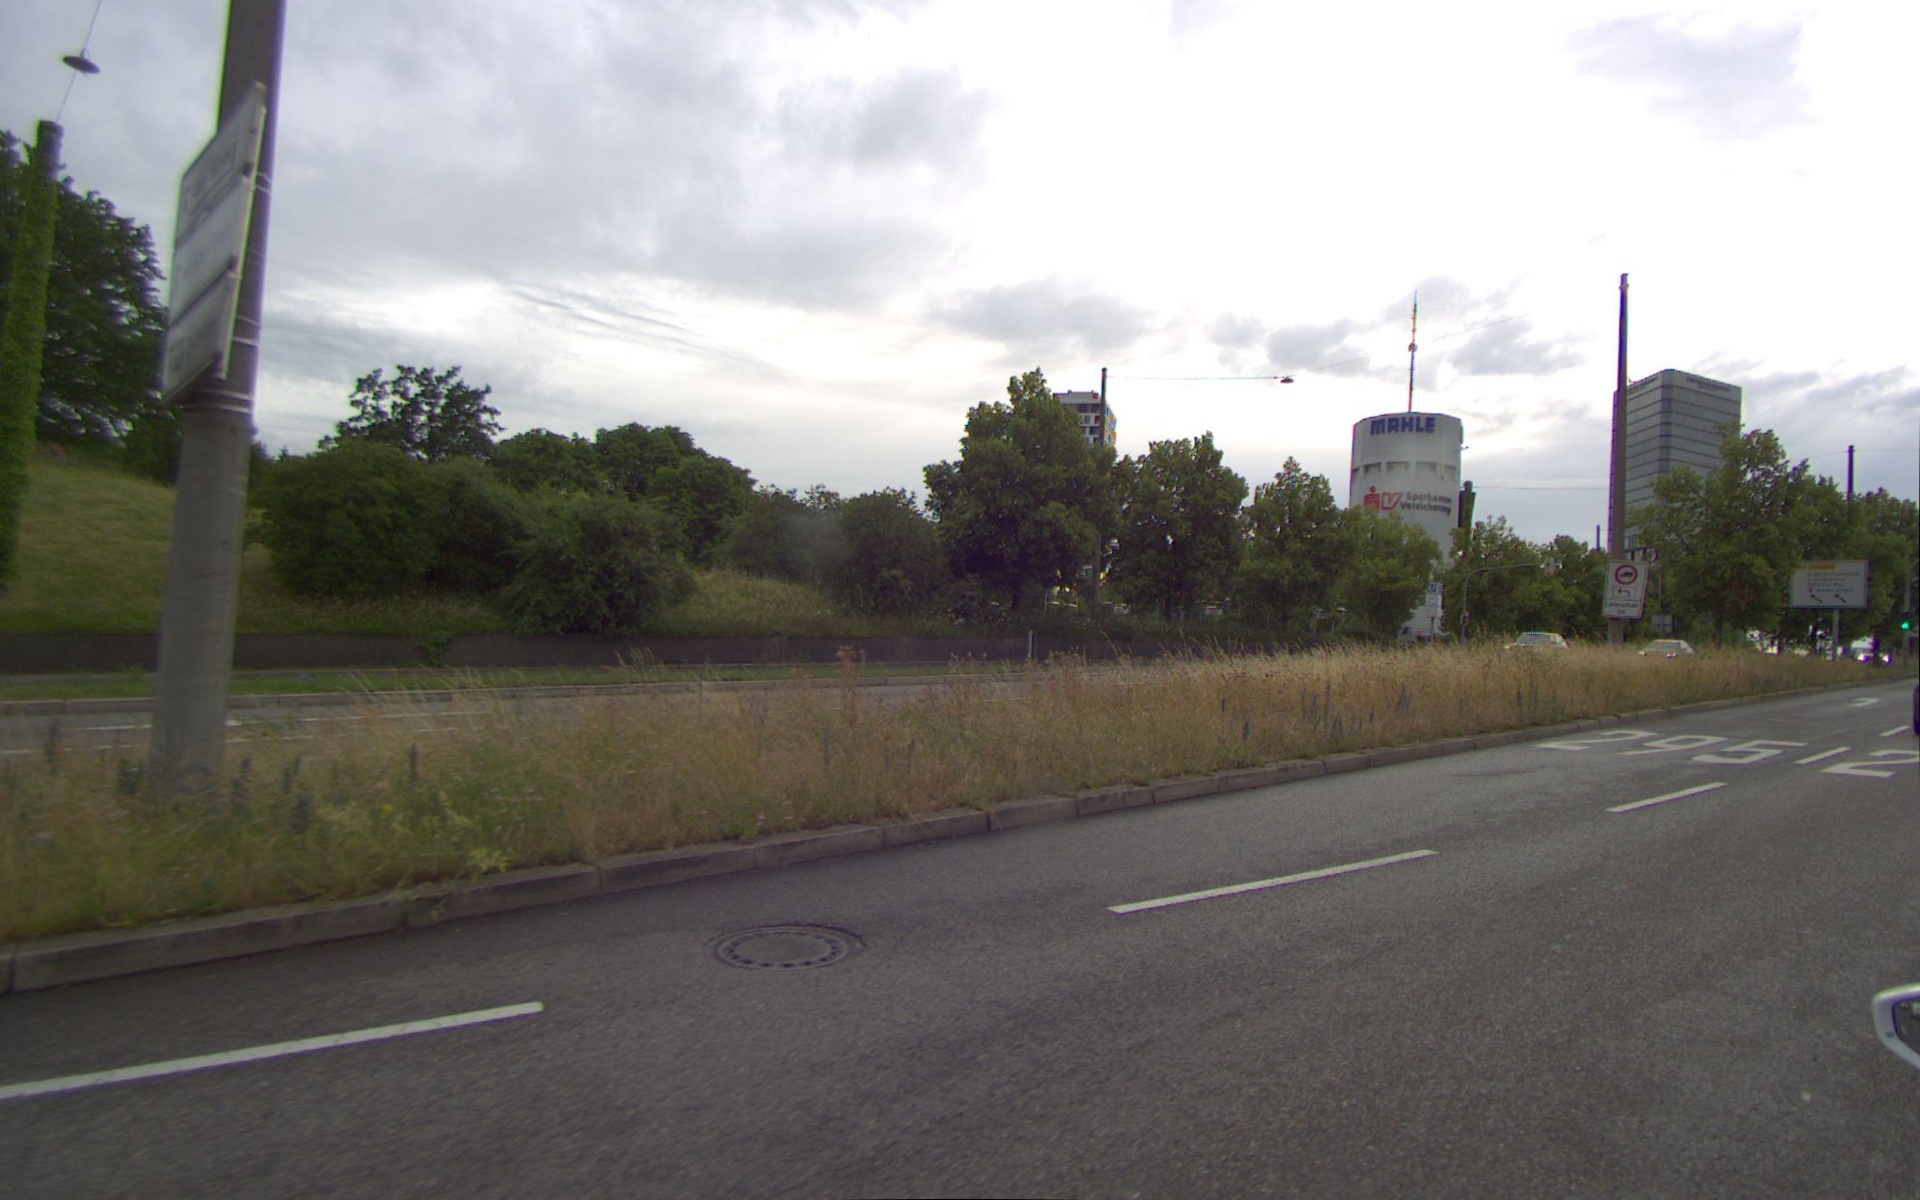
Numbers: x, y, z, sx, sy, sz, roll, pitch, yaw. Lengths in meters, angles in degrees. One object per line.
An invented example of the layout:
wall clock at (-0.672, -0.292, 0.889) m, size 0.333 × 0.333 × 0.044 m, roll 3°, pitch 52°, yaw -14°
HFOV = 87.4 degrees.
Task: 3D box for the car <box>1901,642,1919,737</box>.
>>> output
car at (17.048, 1.495, 16.565) m, size 3.946 × 1.481 × 1.852 m, roll 3°, pitch -1°, yaw -41°

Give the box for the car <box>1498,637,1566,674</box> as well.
car at (28.135, 2.691, 49.362) m, size 3.973 × 1.642 × 1.843 m, roll 2°, pitch 0°, yaw -44°

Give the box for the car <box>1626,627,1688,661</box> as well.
car at (37.191, 2.346, 53.560) m, size 3.993 × 1.661 × 1.974 m, roll 2°, pitch 0°, yaw -44°

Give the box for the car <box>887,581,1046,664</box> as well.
car at (0.230, 0.659, 26.841) m, size 3.972 × 2.040 × 1.975 m, roll 3°, pitch -3°, yaw -43°
